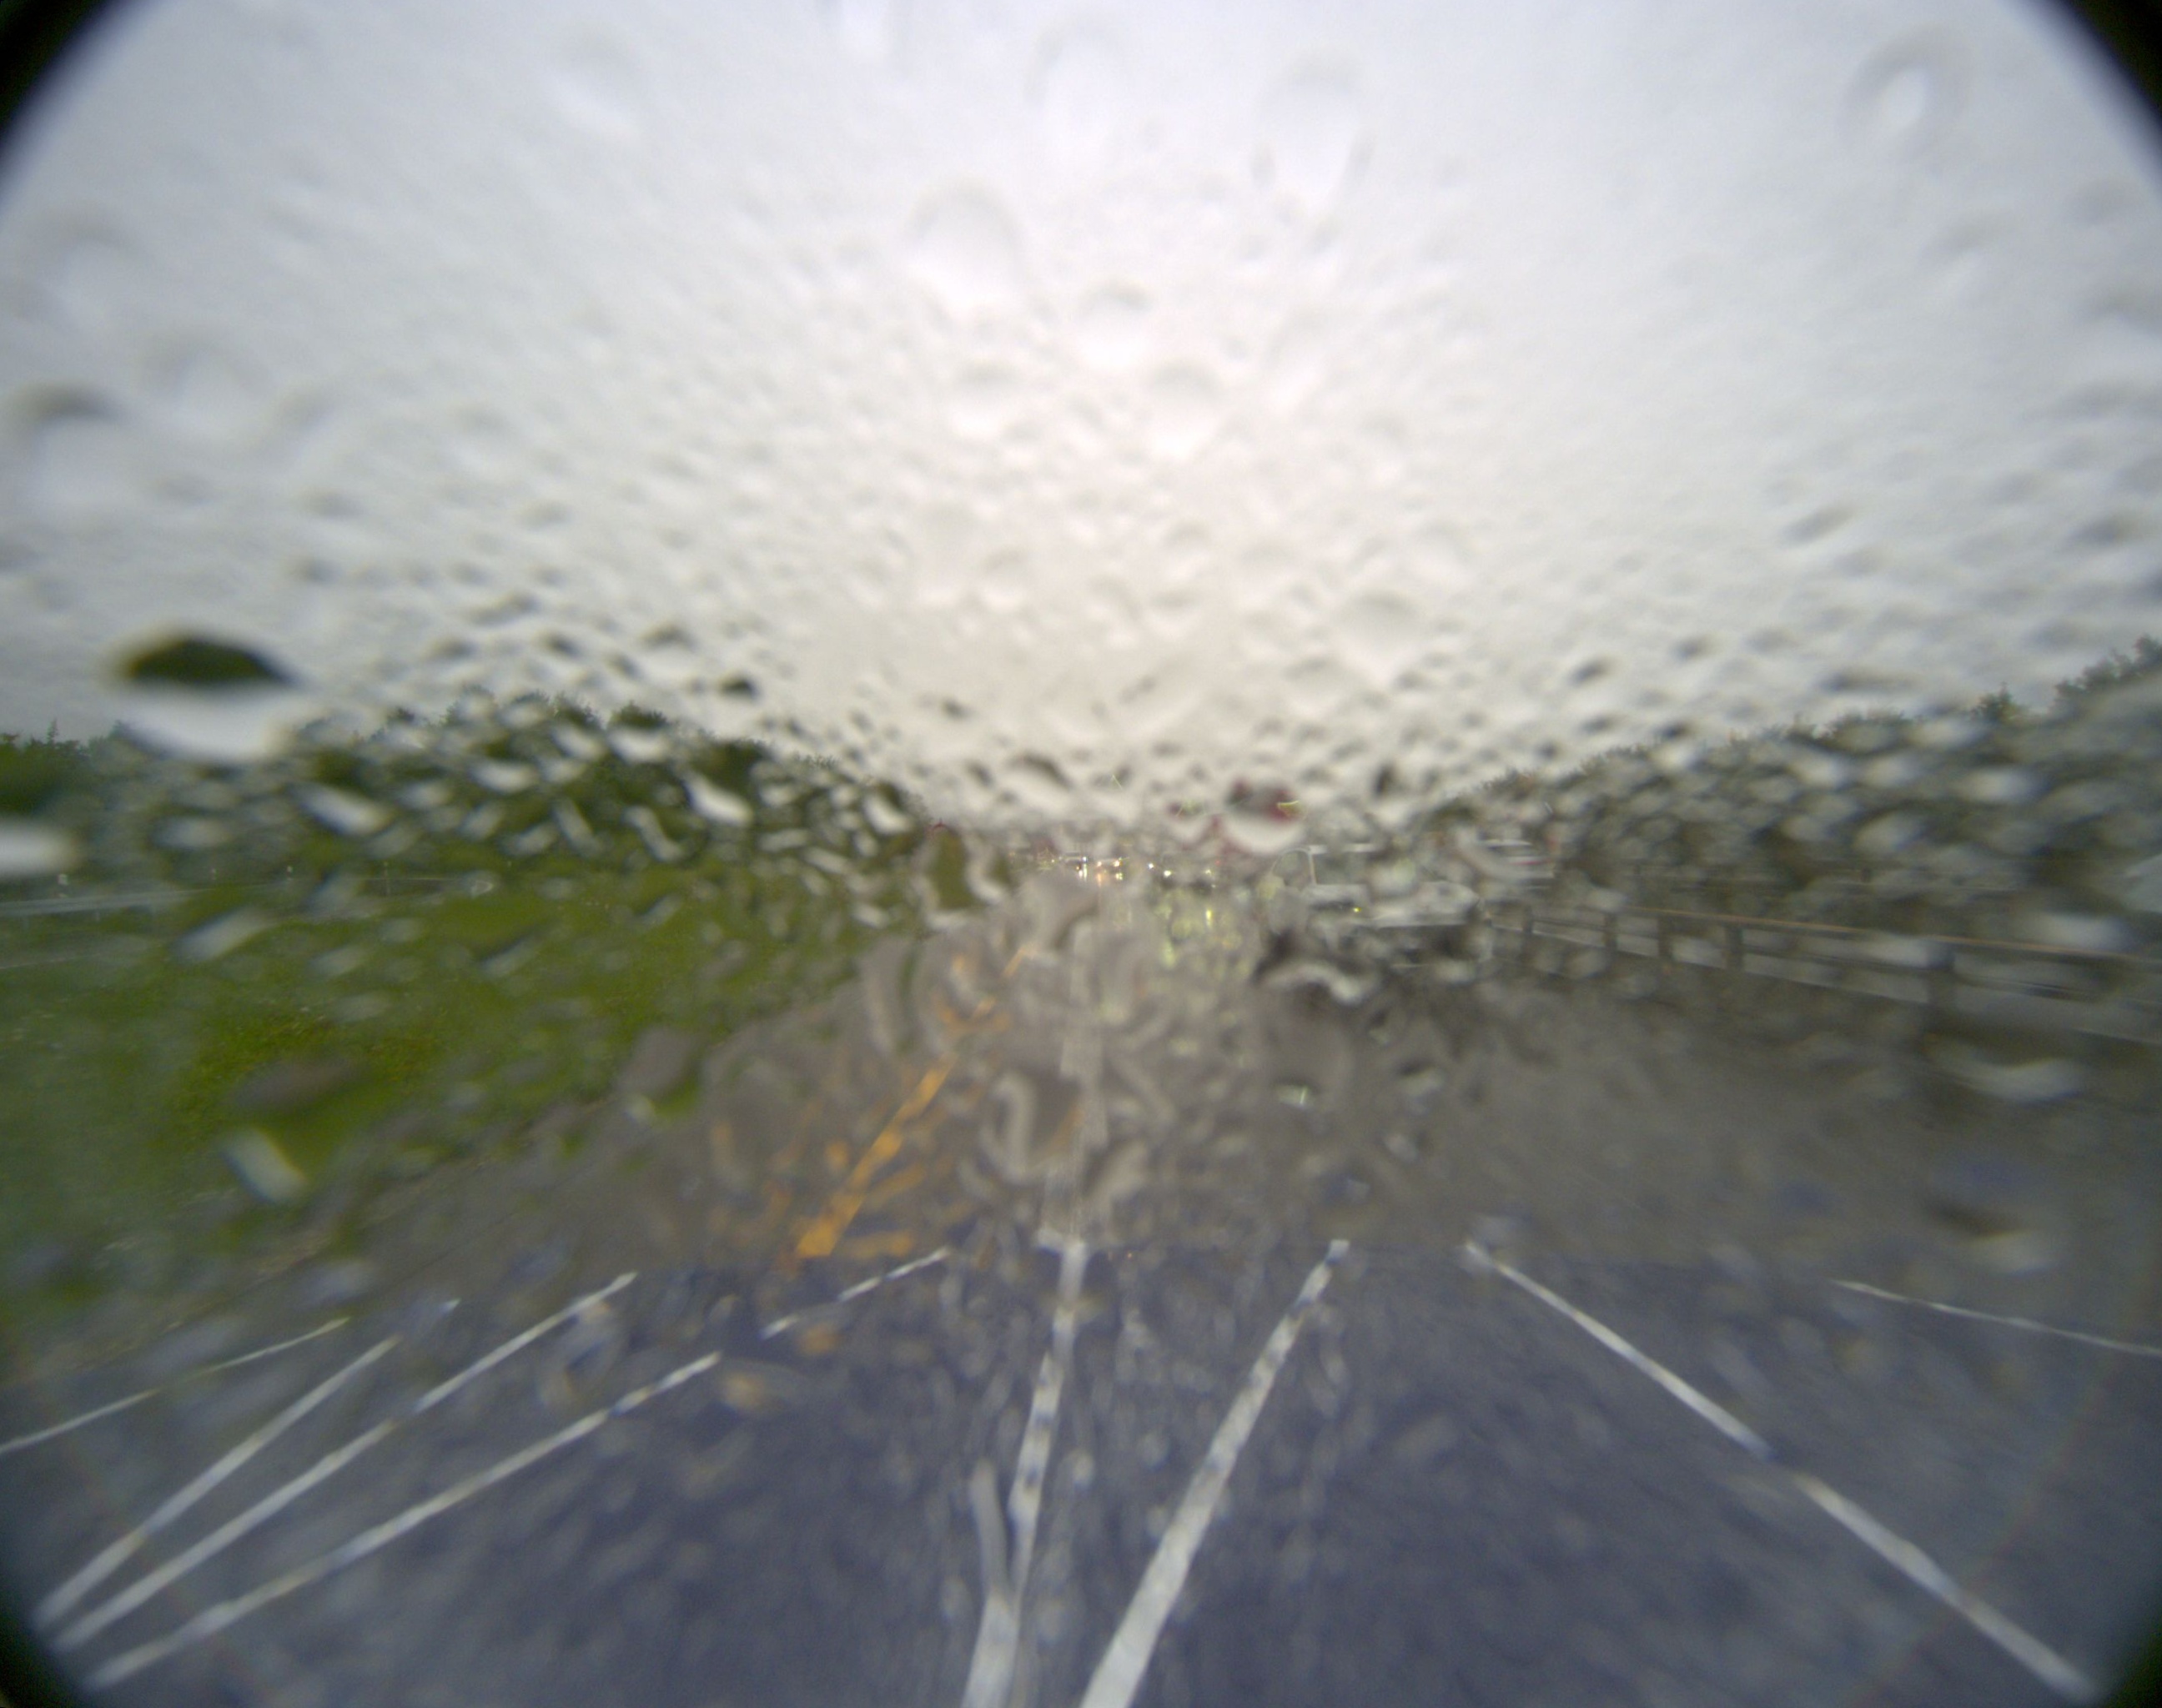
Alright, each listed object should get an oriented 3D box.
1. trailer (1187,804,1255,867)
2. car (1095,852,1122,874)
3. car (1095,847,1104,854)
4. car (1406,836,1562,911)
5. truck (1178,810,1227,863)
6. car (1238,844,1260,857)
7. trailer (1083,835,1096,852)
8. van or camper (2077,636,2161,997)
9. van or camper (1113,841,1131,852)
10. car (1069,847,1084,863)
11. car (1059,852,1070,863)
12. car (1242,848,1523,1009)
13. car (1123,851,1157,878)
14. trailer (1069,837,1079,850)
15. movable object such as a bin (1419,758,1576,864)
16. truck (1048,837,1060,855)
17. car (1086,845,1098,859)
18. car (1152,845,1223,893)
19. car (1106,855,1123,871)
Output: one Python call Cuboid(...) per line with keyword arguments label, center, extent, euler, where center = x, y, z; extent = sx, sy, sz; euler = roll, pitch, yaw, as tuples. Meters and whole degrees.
Cuboid(label="trailer", center=(10.336, -1.336, 57.324), extent=(2.983, 4.270, 11.057), euler=(-1, 1, -1))
Cuboid(label="car", center=(2.304, 0.708, 63.903), extent=(1.881, 1.772, 3.998), euler=(-1, 1, -3))
Cuboid(label="car", center=(4.359, -0.753, 180.247), extent=(1.999, 1.497, 4.295), euler=(-2, 1, -1))
Cuboid(label="car", center=(10.264, 0.409, 19.772), extent=(1.640, 1.659, 4.543), euler=(-3, 1, 1))
Cuboid(label="truck", center=(10.277, -1.435, 64.985), extent=(3.015, 4.247, 6.798), euler=(-1, 1, 0))
Cuboid(label="car", center=(27.708, -0.620, 125.189), extent=(2.099, 1.955, 5.362), euler=(-2, 1, -3))
Cuboid(label="trailer", center=(2.264, -2.668, 198.058), extent=(2.915, 4.065, 12.218), euler=(-1, 0, -1))
Cuboid(label="van or camper", center=(10.160, -0.313, 3.534), extent=(2.299, 3.024, 6.698), euler=(-3, 1, 1))
Cuboid(label="van or camper", center=(13.717, -2.416, 253.128), extent=(5.422, 3.326, 3.375), euler=(-3, 1, -6))
Cuboid(label="car", center=(-0.524, 0.079, 86.871), extent=(1.673, 1.804, 3.999), euler=(-1, 1, 0))
Cuboid(label="car", center=(-2.766, 0.518, 125.594), extent=(1.674, 1.804, 3.998), euler=(-1, 1, -4))
Cuboid(label="car", center=(3.591, 0.740, 10.225), extent=(1.932, 1.542, 5.007), euler=(-2, 1, 2))
Cuboid(label="car", center=(3.647, 0.598, 47.619), extent=(1.792, 1.481, 3.999), euler=(-3, 1, 1))
Cuboid(label="trailer", center=(-2.219, -3.379, 239.655), extent=(2.501, 4.026, 12.582), euler=(-2, 1, -2))
Cuboid(label="movable object such as a bin", center=(26.358, -2.545, 49.096), extent=(4.181, 5.881, 11.044), euler=(-3, 1, 2))
Cuboid(label="truck", center=(-6.490, -1.862, 183.569), extent=(2.506, 4.067, 15.197), euler=(-3, 1, -1))
Cuboid(label="car", center=(1.630, -0.312, 115.235), extent=(1.766, 2.002, 3.999), euler=(-3, 1, 0))
Cuboid(label="car", center=(3.932, 0.489, 28.848), extent=(2.069, 1.618, 5.195), euler=(-2, 1, 2))
Cuboid(label="car", center=(3.477, 0.938, 78.899), extent=(1.589, 1.528, 3.831), euler=(-1, 1, 0))
